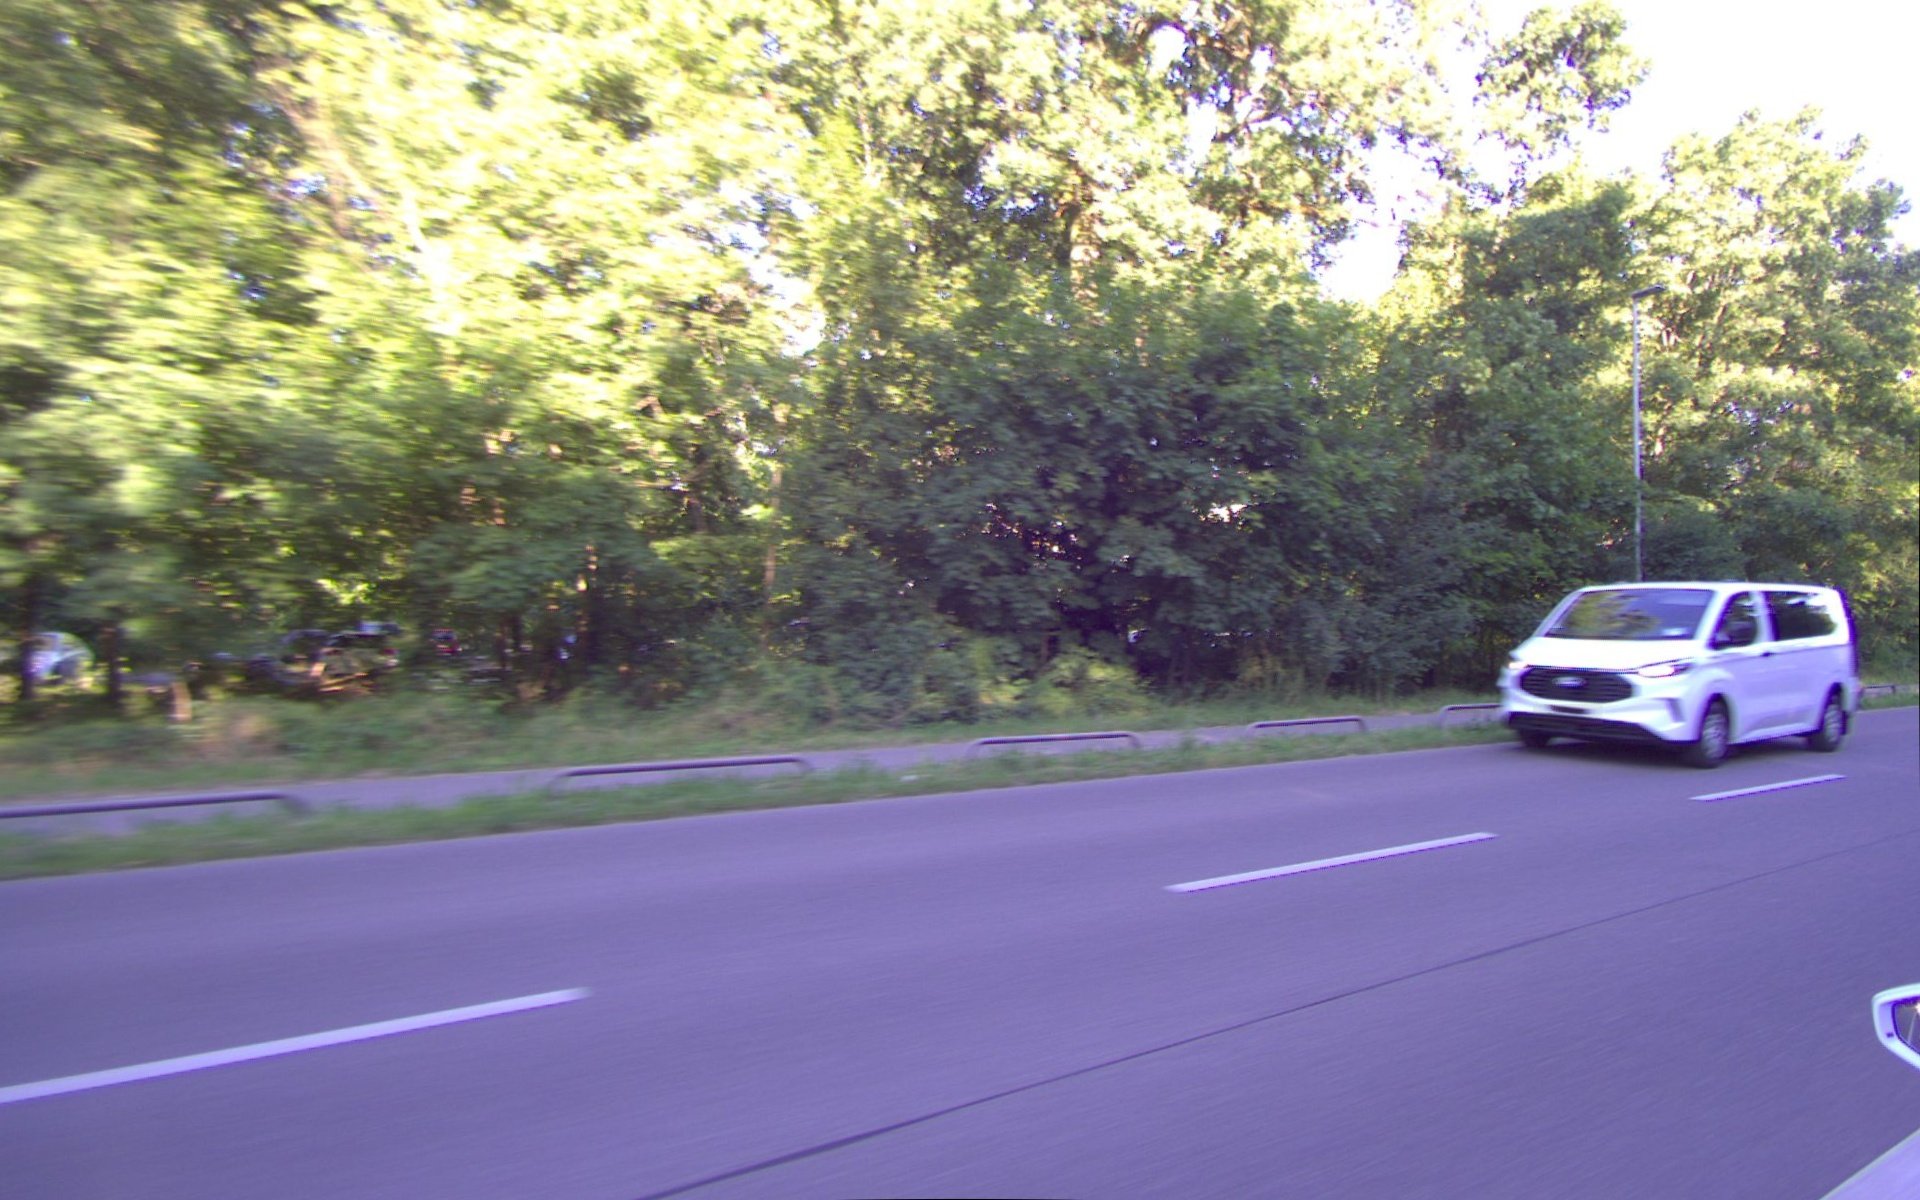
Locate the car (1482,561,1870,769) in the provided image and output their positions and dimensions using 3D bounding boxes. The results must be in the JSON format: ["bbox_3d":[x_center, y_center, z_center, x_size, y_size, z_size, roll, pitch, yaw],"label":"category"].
[{"bbox_3d":[8.583,0.701,11.915,4.942,2.018,1.983,2,0,-32],"label":"car"}]
